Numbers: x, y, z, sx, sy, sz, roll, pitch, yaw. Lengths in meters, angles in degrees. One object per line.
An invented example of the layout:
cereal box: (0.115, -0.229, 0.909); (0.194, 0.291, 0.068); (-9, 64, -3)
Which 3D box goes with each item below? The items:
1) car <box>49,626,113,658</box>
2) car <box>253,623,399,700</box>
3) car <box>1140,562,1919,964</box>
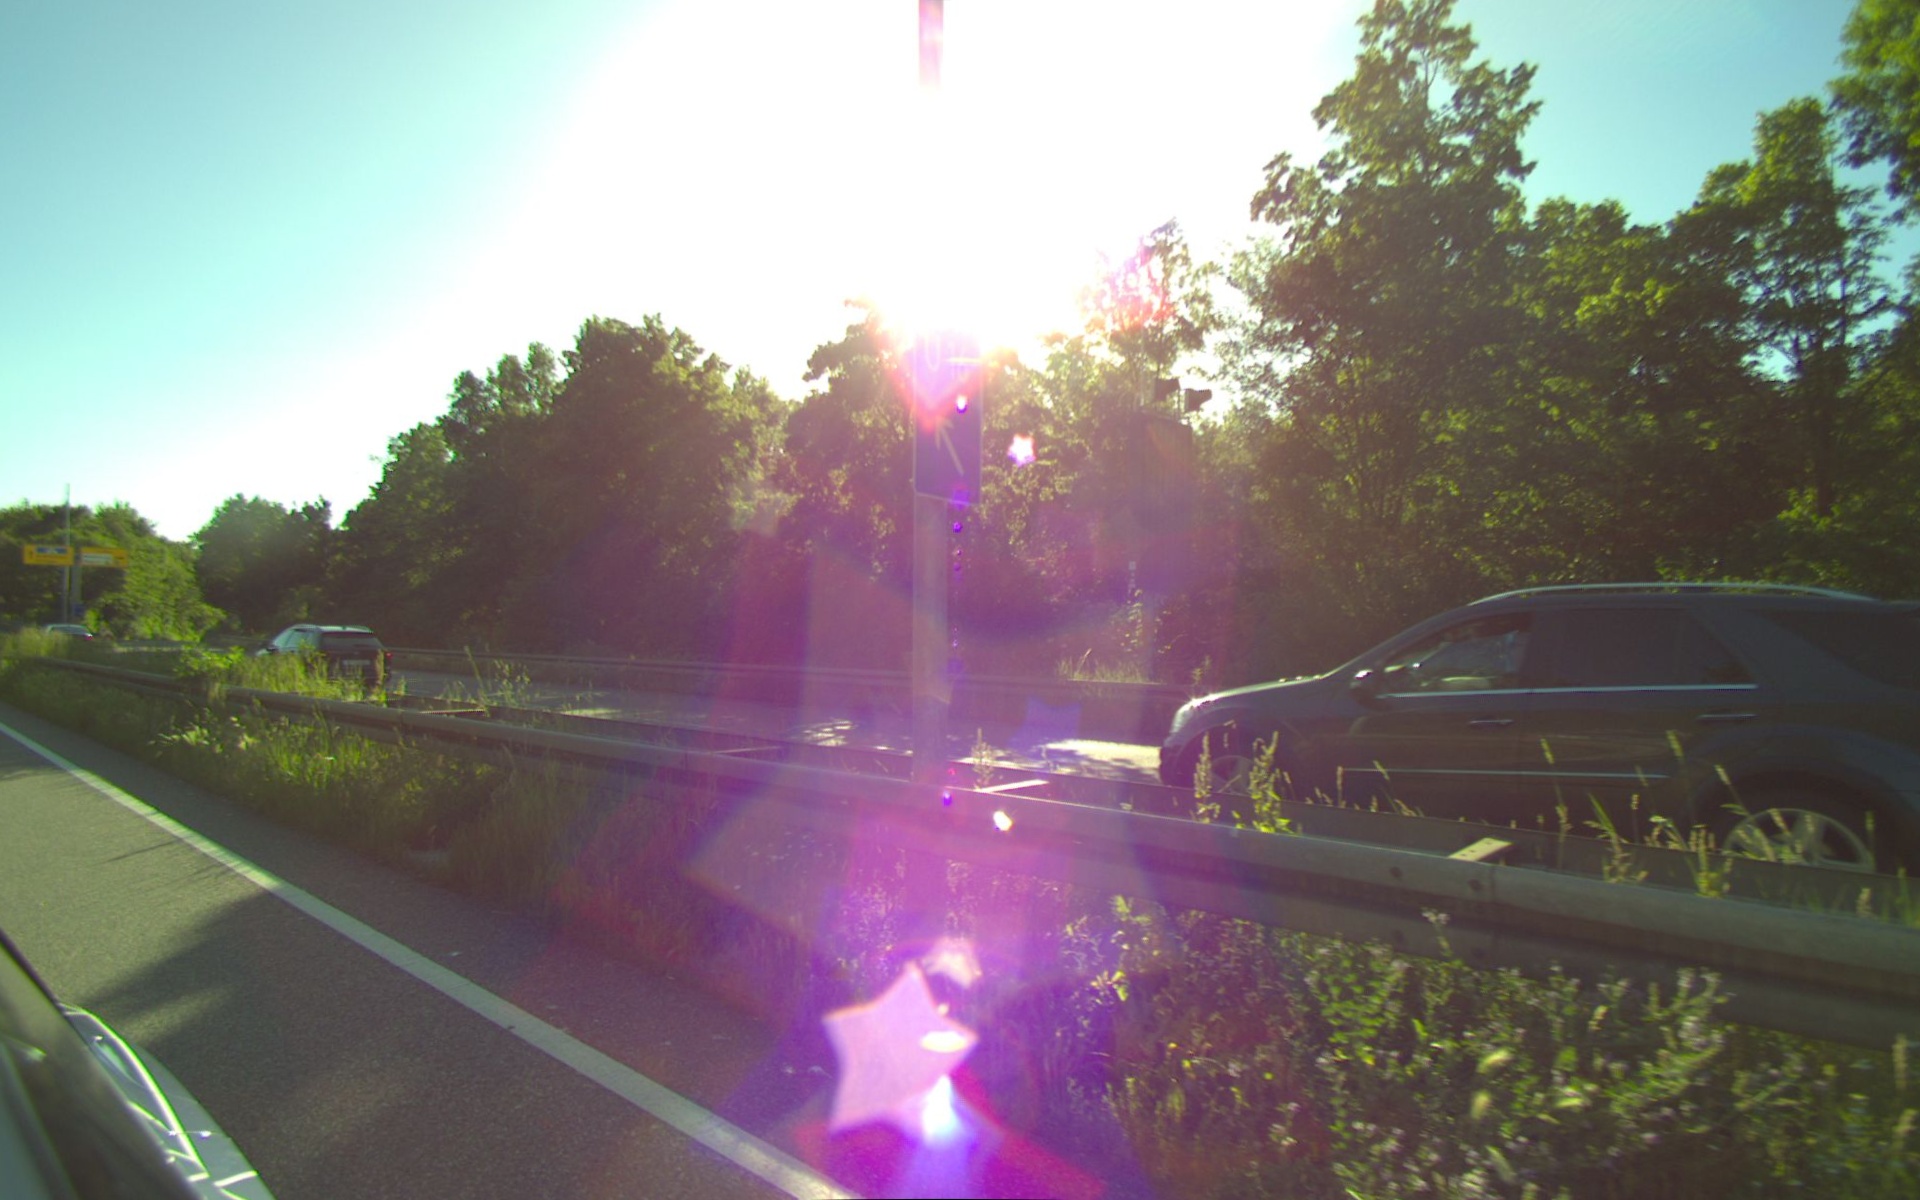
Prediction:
car: (-41.754, 1.966, 48.043); (4.552, 1.414, 1.761); (-1, -2, 43)
car: (-14.154, 1.300, 22.479); (4.608, 1.542, 1.600); (-1, -3, 43)
car: (3.622, 0.767, 6.217); (4.709, 1.771, 1.822); (-1, -2, 41)
